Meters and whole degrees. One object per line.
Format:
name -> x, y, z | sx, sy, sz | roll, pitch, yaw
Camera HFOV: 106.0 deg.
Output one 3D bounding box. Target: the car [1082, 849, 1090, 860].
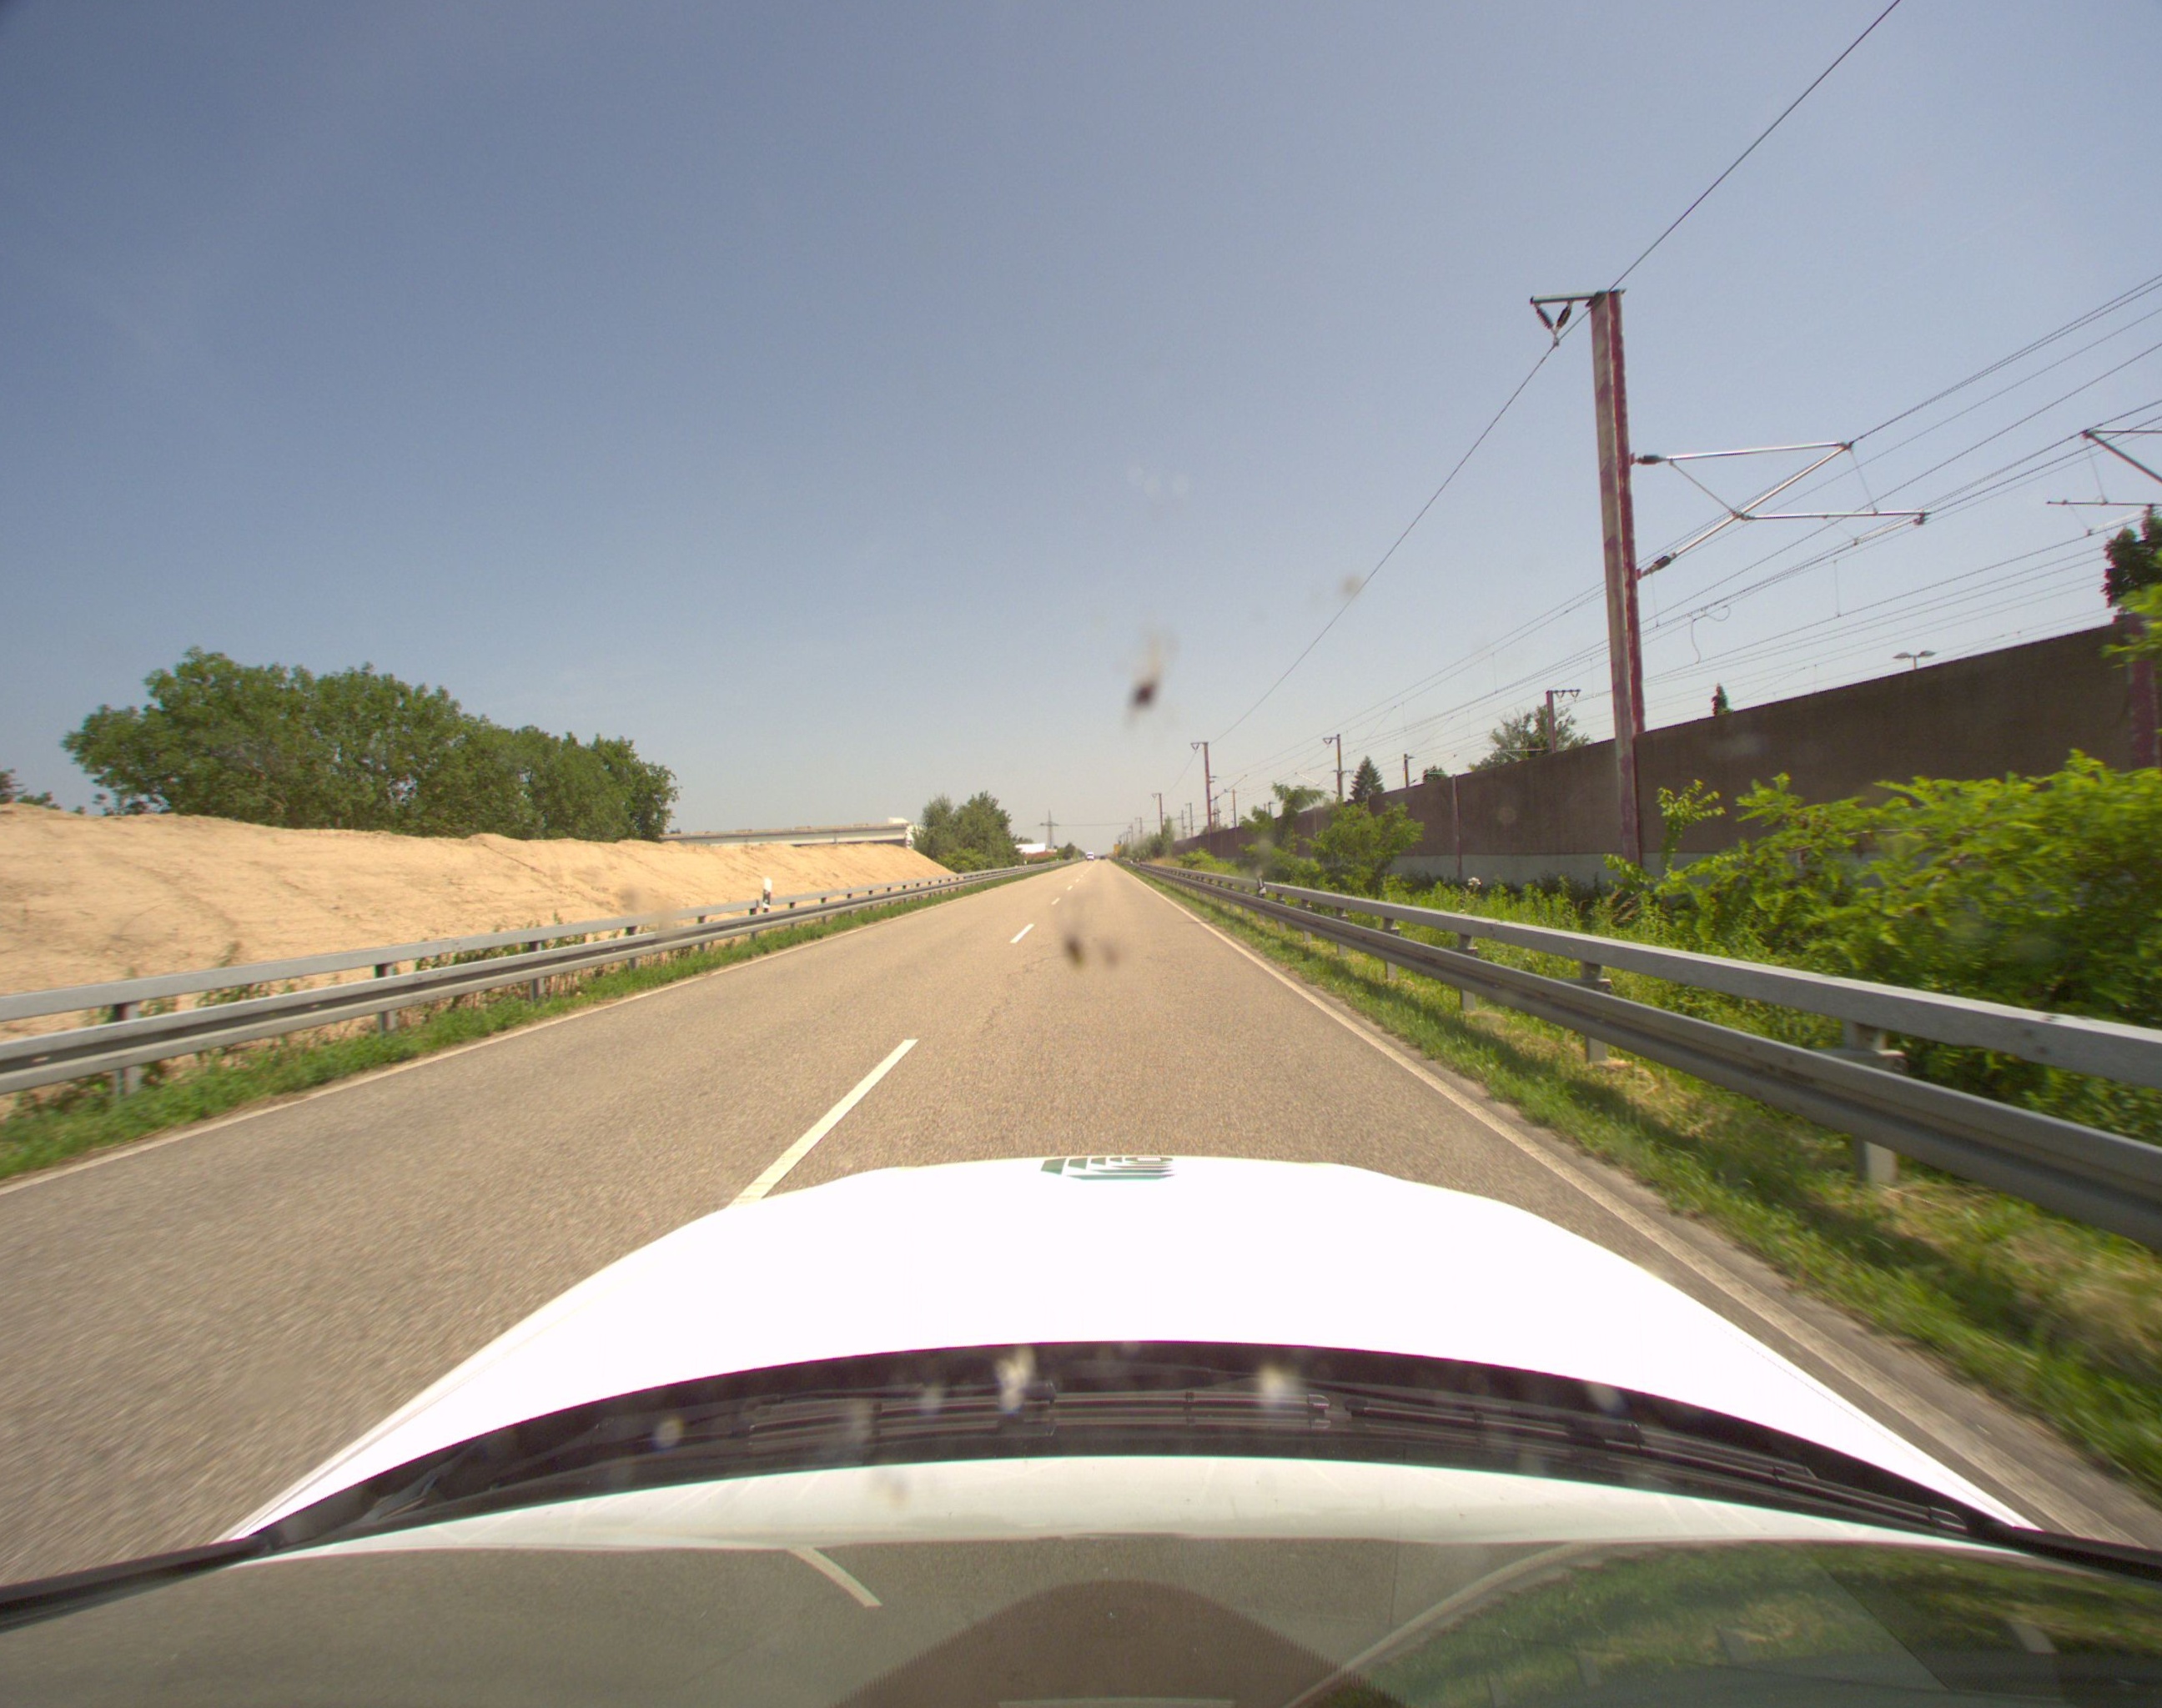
car -> 1.537, 0.203, 235.014 | 2.072, 2.962, 6.731 | -1, 0, 1
